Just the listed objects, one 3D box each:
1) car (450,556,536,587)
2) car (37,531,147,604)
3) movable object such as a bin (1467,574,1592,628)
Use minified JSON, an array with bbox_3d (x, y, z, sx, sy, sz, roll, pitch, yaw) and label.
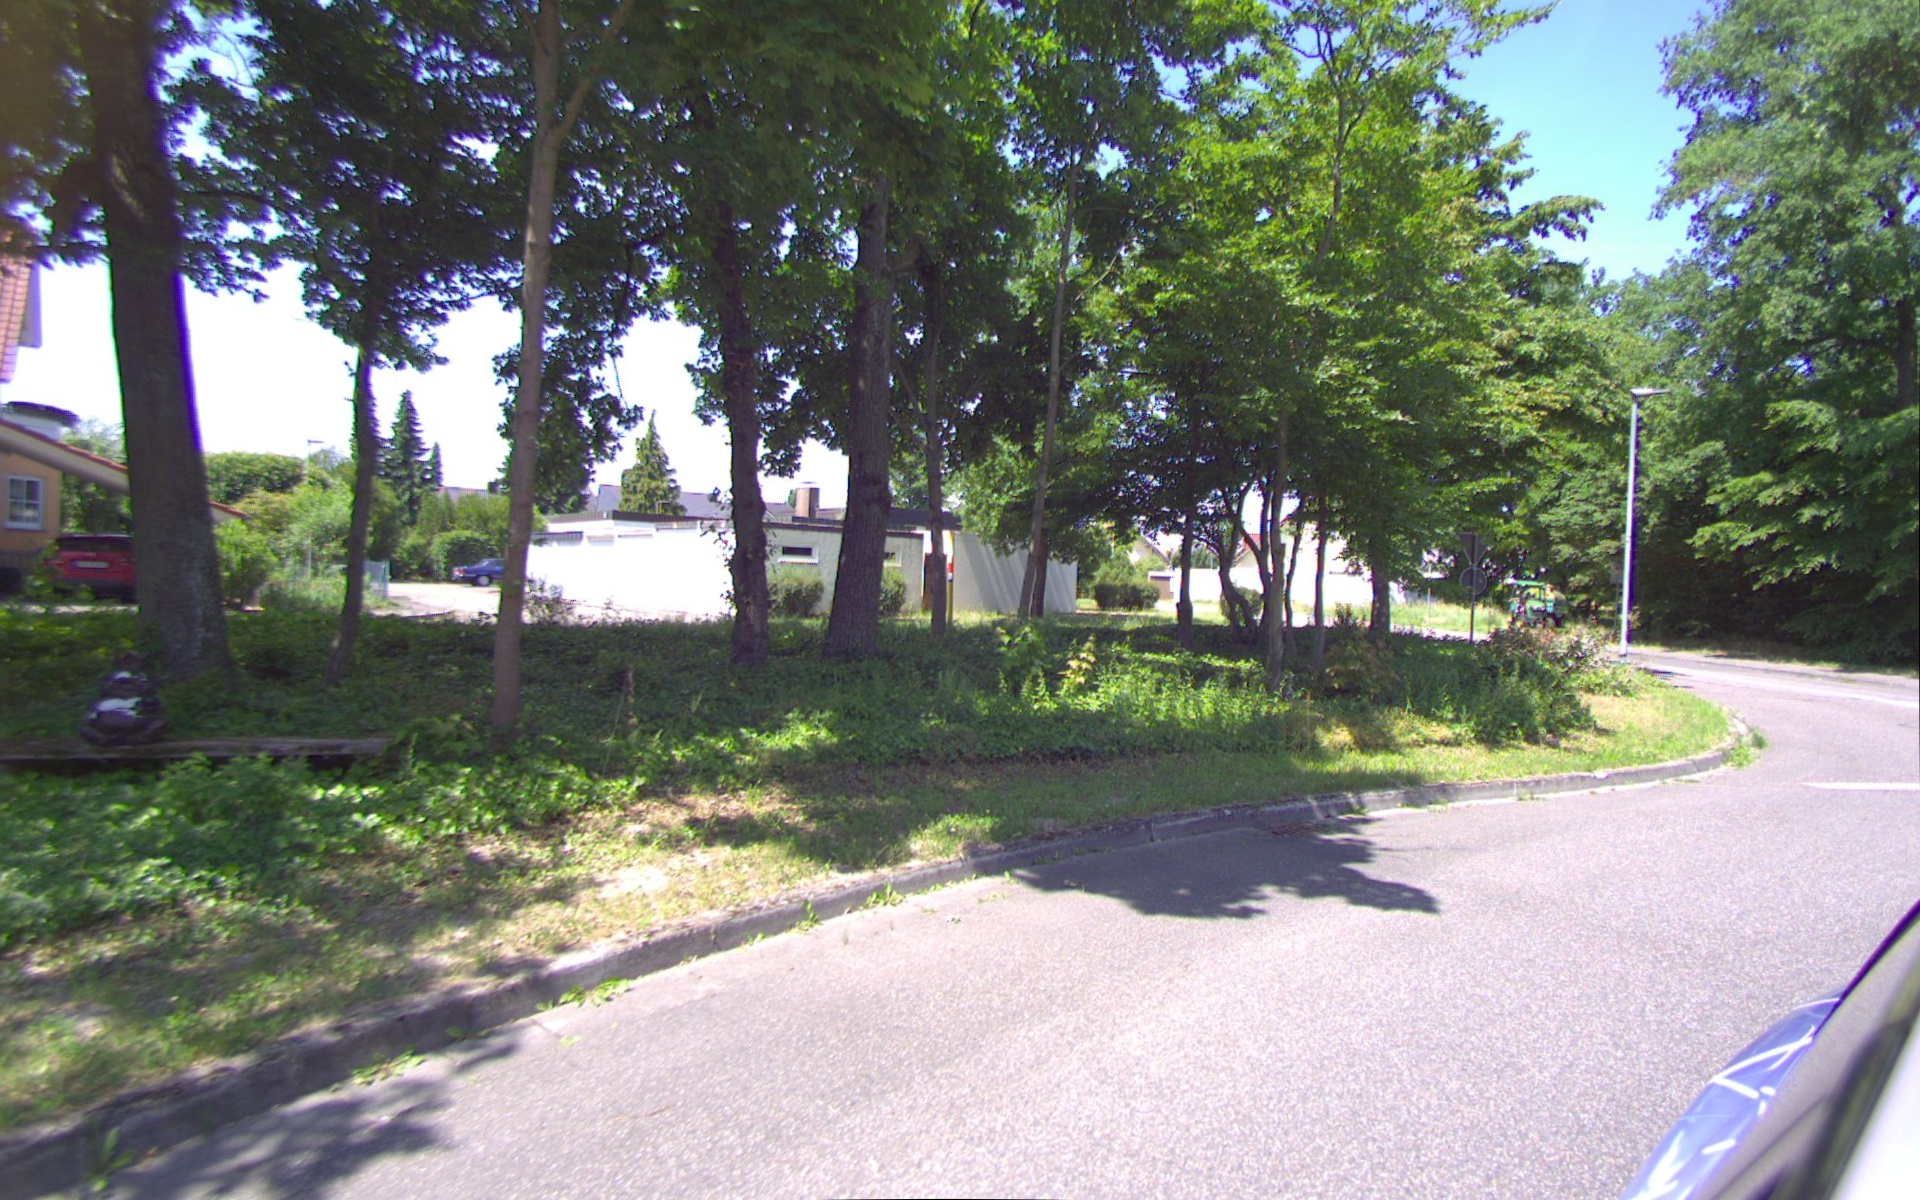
[{"bbox_3d":[-21.367,-1.292,46.354,3.224,1.268,1.570,1,2,-44],"label":"car"},{"bbox_3d":[-18.670,-0.722,21.872,1.654,1.402,3.691,1,2,-39],"label":"car"},{"bbox_3d":[26.543,-0.021,47.467,2.473,2.304,5.246,2,1,-5],"label":"movable object such as a bin"}]
